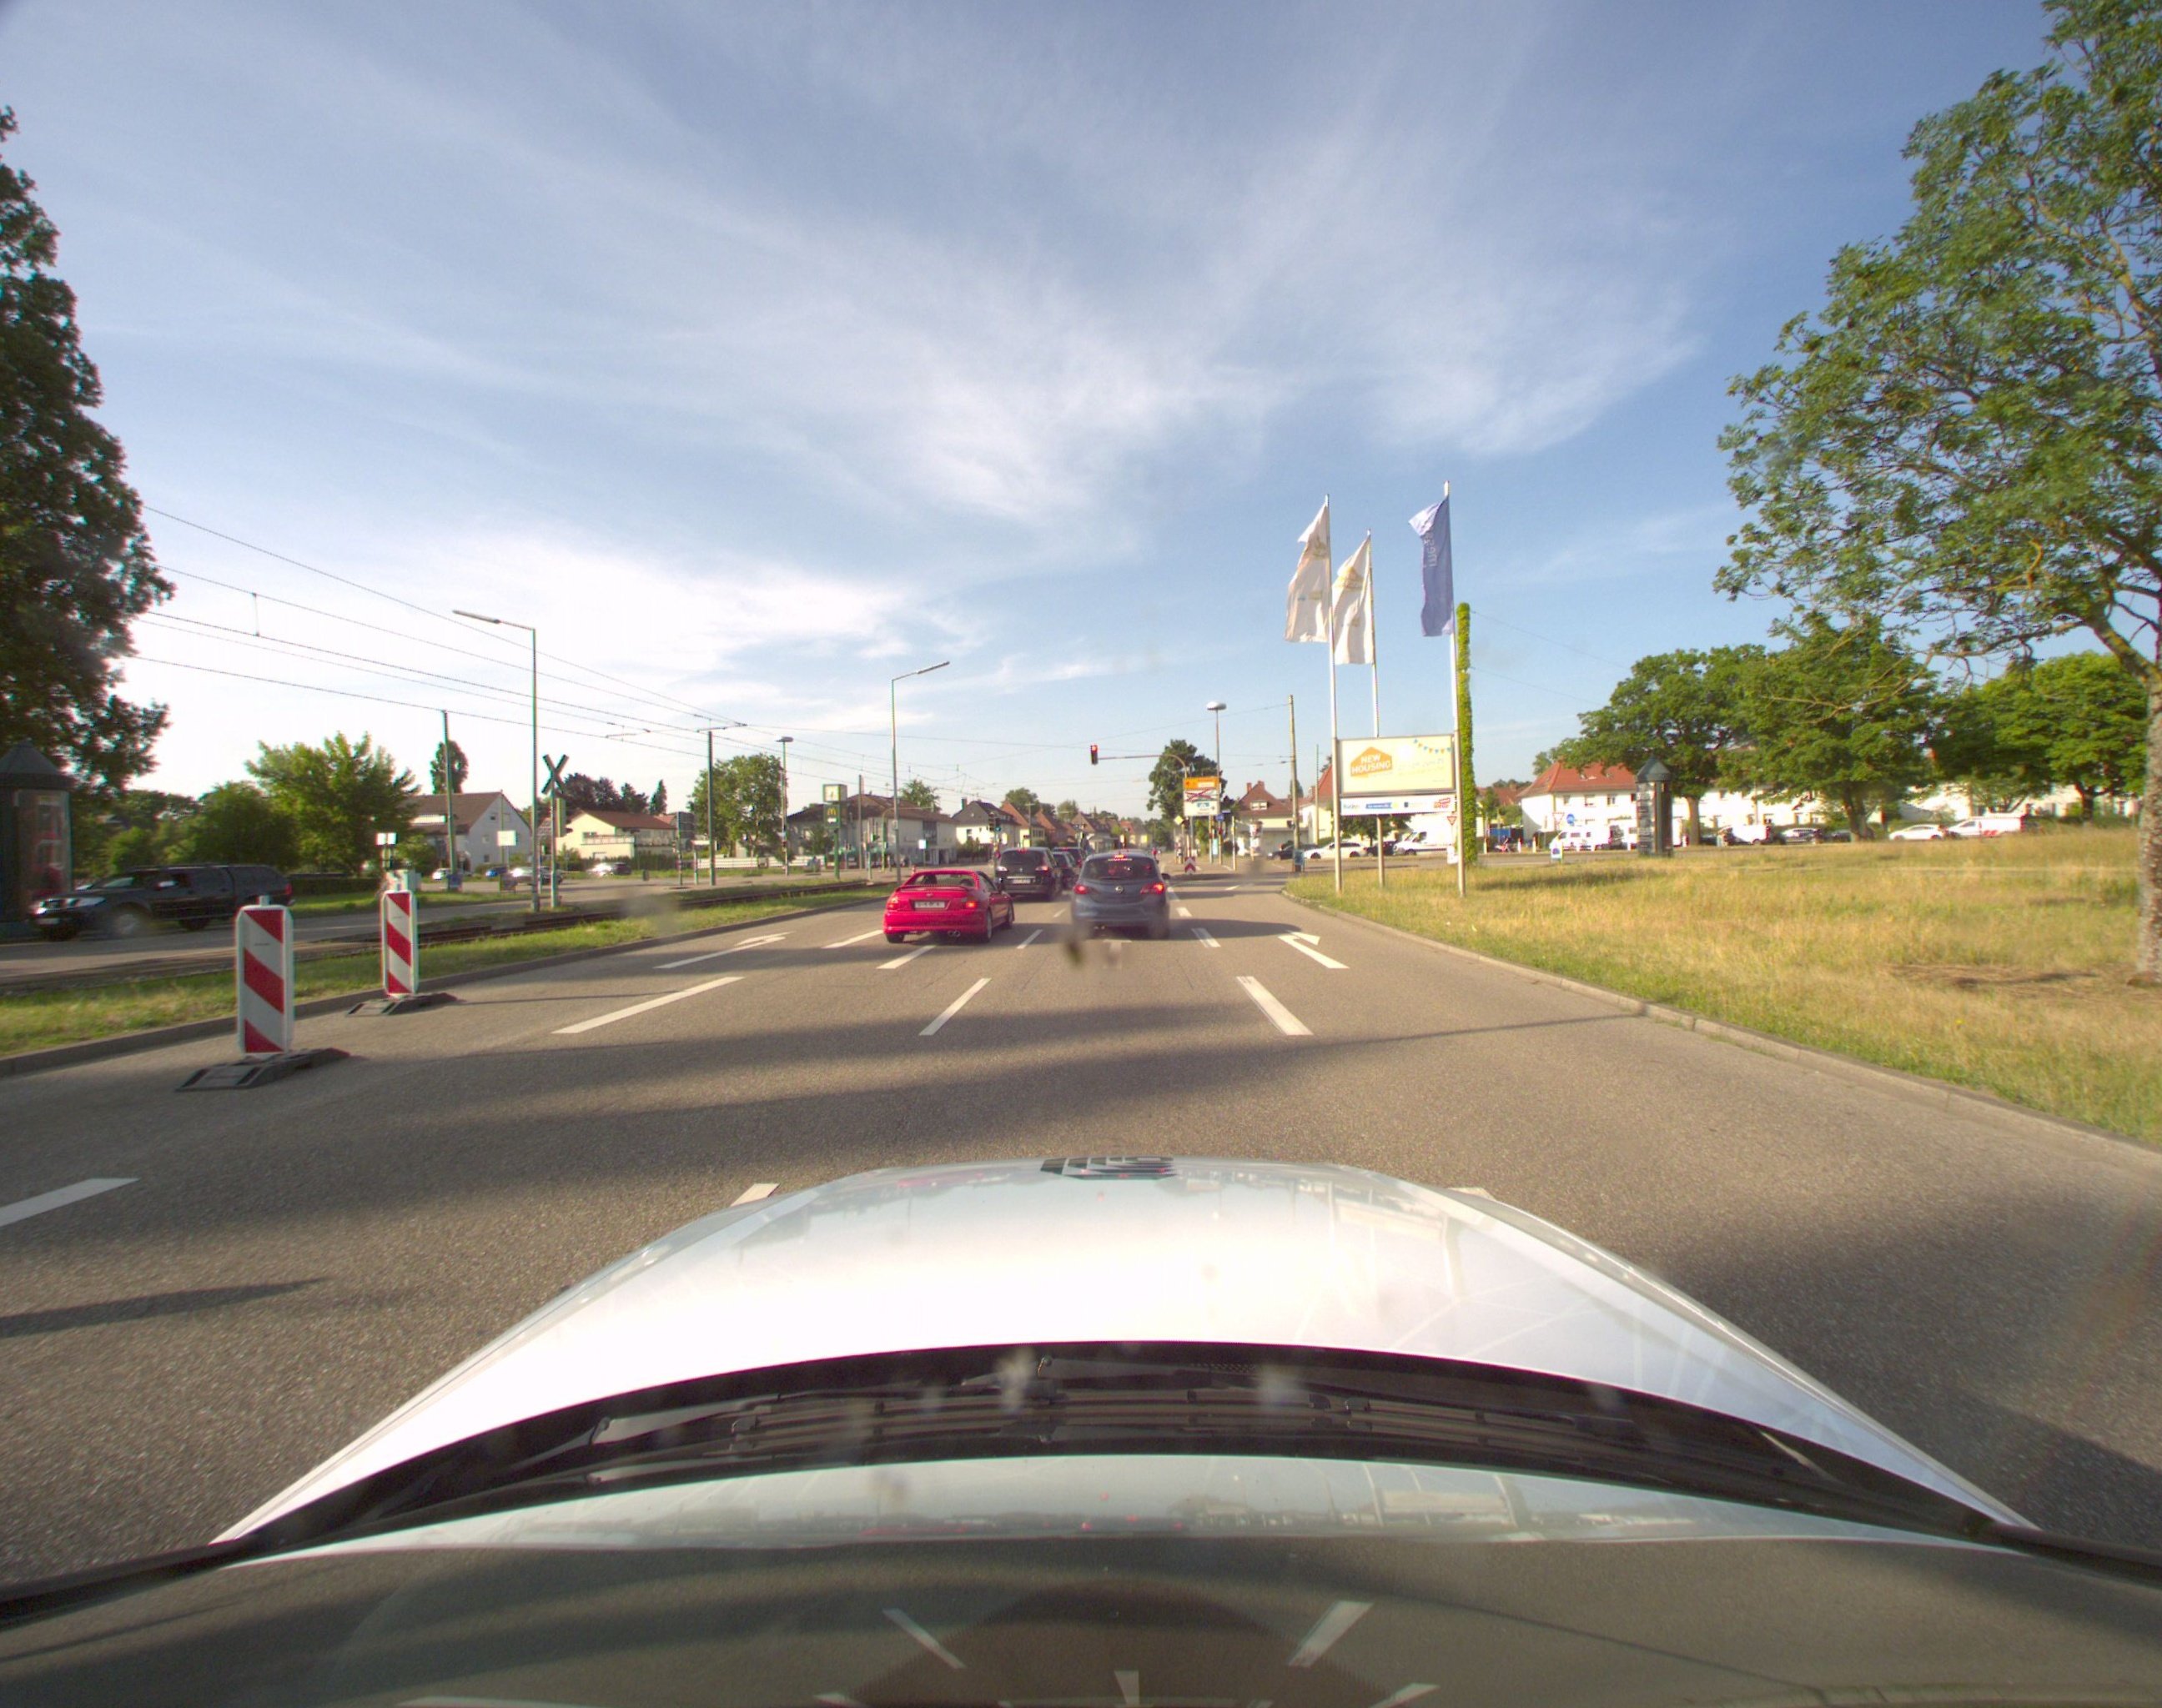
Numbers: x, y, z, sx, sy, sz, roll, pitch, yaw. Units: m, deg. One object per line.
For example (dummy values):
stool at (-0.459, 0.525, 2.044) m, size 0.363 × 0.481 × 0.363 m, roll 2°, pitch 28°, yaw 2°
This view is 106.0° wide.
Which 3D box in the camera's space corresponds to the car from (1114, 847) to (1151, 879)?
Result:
car at (2.506, 0.399, 39.253) m, size 1.649 × 1.443 × 4.018 m, roll -2°, pitch 0°, yaw 4°

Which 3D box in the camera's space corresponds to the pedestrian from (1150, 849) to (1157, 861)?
pedestrian at (9.394, 0.117, 105.636) m, size 0.747 × 1.499 × 0.830 m, roll 0°, pitch -1°, yaw 14°

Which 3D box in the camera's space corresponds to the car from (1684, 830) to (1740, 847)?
car at (59.600, -1.448, 76.952) m, size 1.907 × 1.456 × 3.861 m, roll -2°, pitch 0°, yaw -43°

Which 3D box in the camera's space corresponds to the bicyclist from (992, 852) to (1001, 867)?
bicyclist at (-8.449, 0.533, 81.251) m, size 0.882 × 1.431 × 1.135 m, roll 0°, pitch -1°, yaw -3°

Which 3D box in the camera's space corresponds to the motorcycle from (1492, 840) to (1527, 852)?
motorcycle at (32.383, -0.603, 61.615) m, size 2.260 × 0.866 × 0.692 m, roll -2°, pitch 0°, yaw 5°

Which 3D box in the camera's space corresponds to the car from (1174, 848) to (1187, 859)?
car at (13.750, -0.068, 112.605) m, size 1.666 × 1.398 × 4.007 m, roll 0°, pitch 0°, yaw 7°

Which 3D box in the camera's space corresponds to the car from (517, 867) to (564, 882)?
car at (-61.646, 2.349, 93.019) m, size 1.980 × 1.684 × 4.234 m, roll 0°, pitch -1°, yaw 12°

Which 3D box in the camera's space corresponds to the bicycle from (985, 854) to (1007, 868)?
bicycle at (-8.495, 0.688, 81.255) m, size 2.069 × 1.348 × 1.107 m, roll 0°, pitch -1°, yaw -4°

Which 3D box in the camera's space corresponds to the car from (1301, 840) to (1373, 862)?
car at (19.913, -0.254, 63.554) m, size 5.068 × 1.563 × 1.843 m, roll -2°, pitch 0°, yaw 6°

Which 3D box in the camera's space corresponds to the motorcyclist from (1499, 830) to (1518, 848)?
motorcyclist at (32.363, -1.143, 61.611) m, size 1.060 × 1.352 × 0.681 m, roll -2°, pitch 0°, yaw 5°

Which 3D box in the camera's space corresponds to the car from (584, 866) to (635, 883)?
car at (-46.096, 1.957, 79.608) m, size 3.958 × 1.486 × 2.008 m, roll -2°, pitch 0°, yaw 14°

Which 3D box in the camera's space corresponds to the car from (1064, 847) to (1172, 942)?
car at (0.648, 0.656, 15.500) m, size 1.735 × 1.505 × 4.224 m, roll -2°, pitch 1°, yaw 1°

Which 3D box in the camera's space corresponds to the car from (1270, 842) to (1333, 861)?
car at (18.182, -0.200, 67.319) m, size 4.798 × 1.411 × 1.719 m, roll -2°, pitch 0°, yaw 6°

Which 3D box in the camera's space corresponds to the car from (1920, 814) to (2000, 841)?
car at (81.620, -2.460, 75.650) m, size 2.010 × 2.232 × 4.921 m, roll -2°, pitch 0°, yaw -40°

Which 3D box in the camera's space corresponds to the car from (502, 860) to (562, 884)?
car at (-44.505, 1.432, 66.005) m, size 3.965 × 1.793 × 1.523 m, roll -2°, pitch 0°, yaw 7°

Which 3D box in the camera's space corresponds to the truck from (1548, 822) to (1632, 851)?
truck at (47.636, -1.601, 76.404) m, size 2.284 × 2.524 × 6.298 m, roll -2°, pitch 1°, yaw -29°

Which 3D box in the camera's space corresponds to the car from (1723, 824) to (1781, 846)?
car at (62.998, -1.782, 76.474) m, size 1.906 × 1.920 × 3.863 m, roll -2°, pitch 0°, yaw -40°

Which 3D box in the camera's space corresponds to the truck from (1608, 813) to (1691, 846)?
truck at (53.398, -2.243, 76.600) m, size 1.906 × 2.854 × 6.007 m, roll -2°, pitch 0°, yaw -40°

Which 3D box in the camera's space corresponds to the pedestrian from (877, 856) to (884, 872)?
pedestrian at (-20.327, 0.966, 82.653) m, size 0.510 × 1.599 × 0.539 m, roll -2°, pitch 0°, yaw -2°

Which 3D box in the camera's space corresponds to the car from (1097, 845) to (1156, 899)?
car at (1.468, 0.528, 26.181) m, size 1.699 × 1.551 × 3.981 m, roll -2°, pitch 0°, yaw 3°

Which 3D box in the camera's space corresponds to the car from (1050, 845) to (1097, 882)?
car at (-0.301, 0.404, 40.035) m, size 1.498 × 1.651 × 4.756 m, roll -2°, pitch 0°, yaw 9°

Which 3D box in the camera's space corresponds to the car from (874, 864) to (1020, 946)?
car at (-2.260, 0.823, 14.756) m, size 1.723 × 1.206 × 3.852 m, roll 0°, pitch 0°, yaw 5°

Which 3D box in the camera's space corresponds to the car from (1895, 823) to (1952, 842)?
car at (76.846, -1.943, 74.302) m, size 1.904 × 1.514 × 3.395 m, roll -2°, pitch 0°, yaw -36°

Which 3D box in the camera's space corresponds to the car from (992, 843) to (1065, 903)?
car at (-1.557, 0.534, 25.384) m, size 1.756 × 1.670 × 4.088 m, roll -1°, pitch 0°, yaw 3°

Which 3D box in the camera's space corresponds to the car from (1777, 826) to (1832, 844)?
car at (66.833, -1.719, 75.230) m, size 1.904 × 1.514 × 3.461 m, roll -2°, pitch 0°, yaw -36°

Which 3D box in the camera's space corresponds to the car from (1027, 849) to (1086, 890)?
car at (-0.911, 0.586, 32.845) m, size 1.691 × 1.508 × 4.562 m, roll -1°, pitch 0°, yaw 7°

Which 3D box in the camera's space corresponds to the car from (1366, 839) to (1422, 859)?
car at (25.547, -0.386, 66.573) m, size 3.966 × 1.453 × 1.719 m, roll -2°, pitch 0°, yaw 6°

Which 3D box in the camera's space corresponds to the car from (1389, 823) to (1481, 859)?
car at (27.285, -0.977, 62.937) m, size 6.176 × 2.583 × 2.004 m, roll -2°, pitch 0°, yaw 6°

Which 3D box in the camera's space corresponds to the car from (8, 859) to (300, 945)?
car at (-25.691, 1.219, 22.992) m, size 1.986 × 2.013 × 5.359 m, roll -2°, pitch 0°, yaw 1°
